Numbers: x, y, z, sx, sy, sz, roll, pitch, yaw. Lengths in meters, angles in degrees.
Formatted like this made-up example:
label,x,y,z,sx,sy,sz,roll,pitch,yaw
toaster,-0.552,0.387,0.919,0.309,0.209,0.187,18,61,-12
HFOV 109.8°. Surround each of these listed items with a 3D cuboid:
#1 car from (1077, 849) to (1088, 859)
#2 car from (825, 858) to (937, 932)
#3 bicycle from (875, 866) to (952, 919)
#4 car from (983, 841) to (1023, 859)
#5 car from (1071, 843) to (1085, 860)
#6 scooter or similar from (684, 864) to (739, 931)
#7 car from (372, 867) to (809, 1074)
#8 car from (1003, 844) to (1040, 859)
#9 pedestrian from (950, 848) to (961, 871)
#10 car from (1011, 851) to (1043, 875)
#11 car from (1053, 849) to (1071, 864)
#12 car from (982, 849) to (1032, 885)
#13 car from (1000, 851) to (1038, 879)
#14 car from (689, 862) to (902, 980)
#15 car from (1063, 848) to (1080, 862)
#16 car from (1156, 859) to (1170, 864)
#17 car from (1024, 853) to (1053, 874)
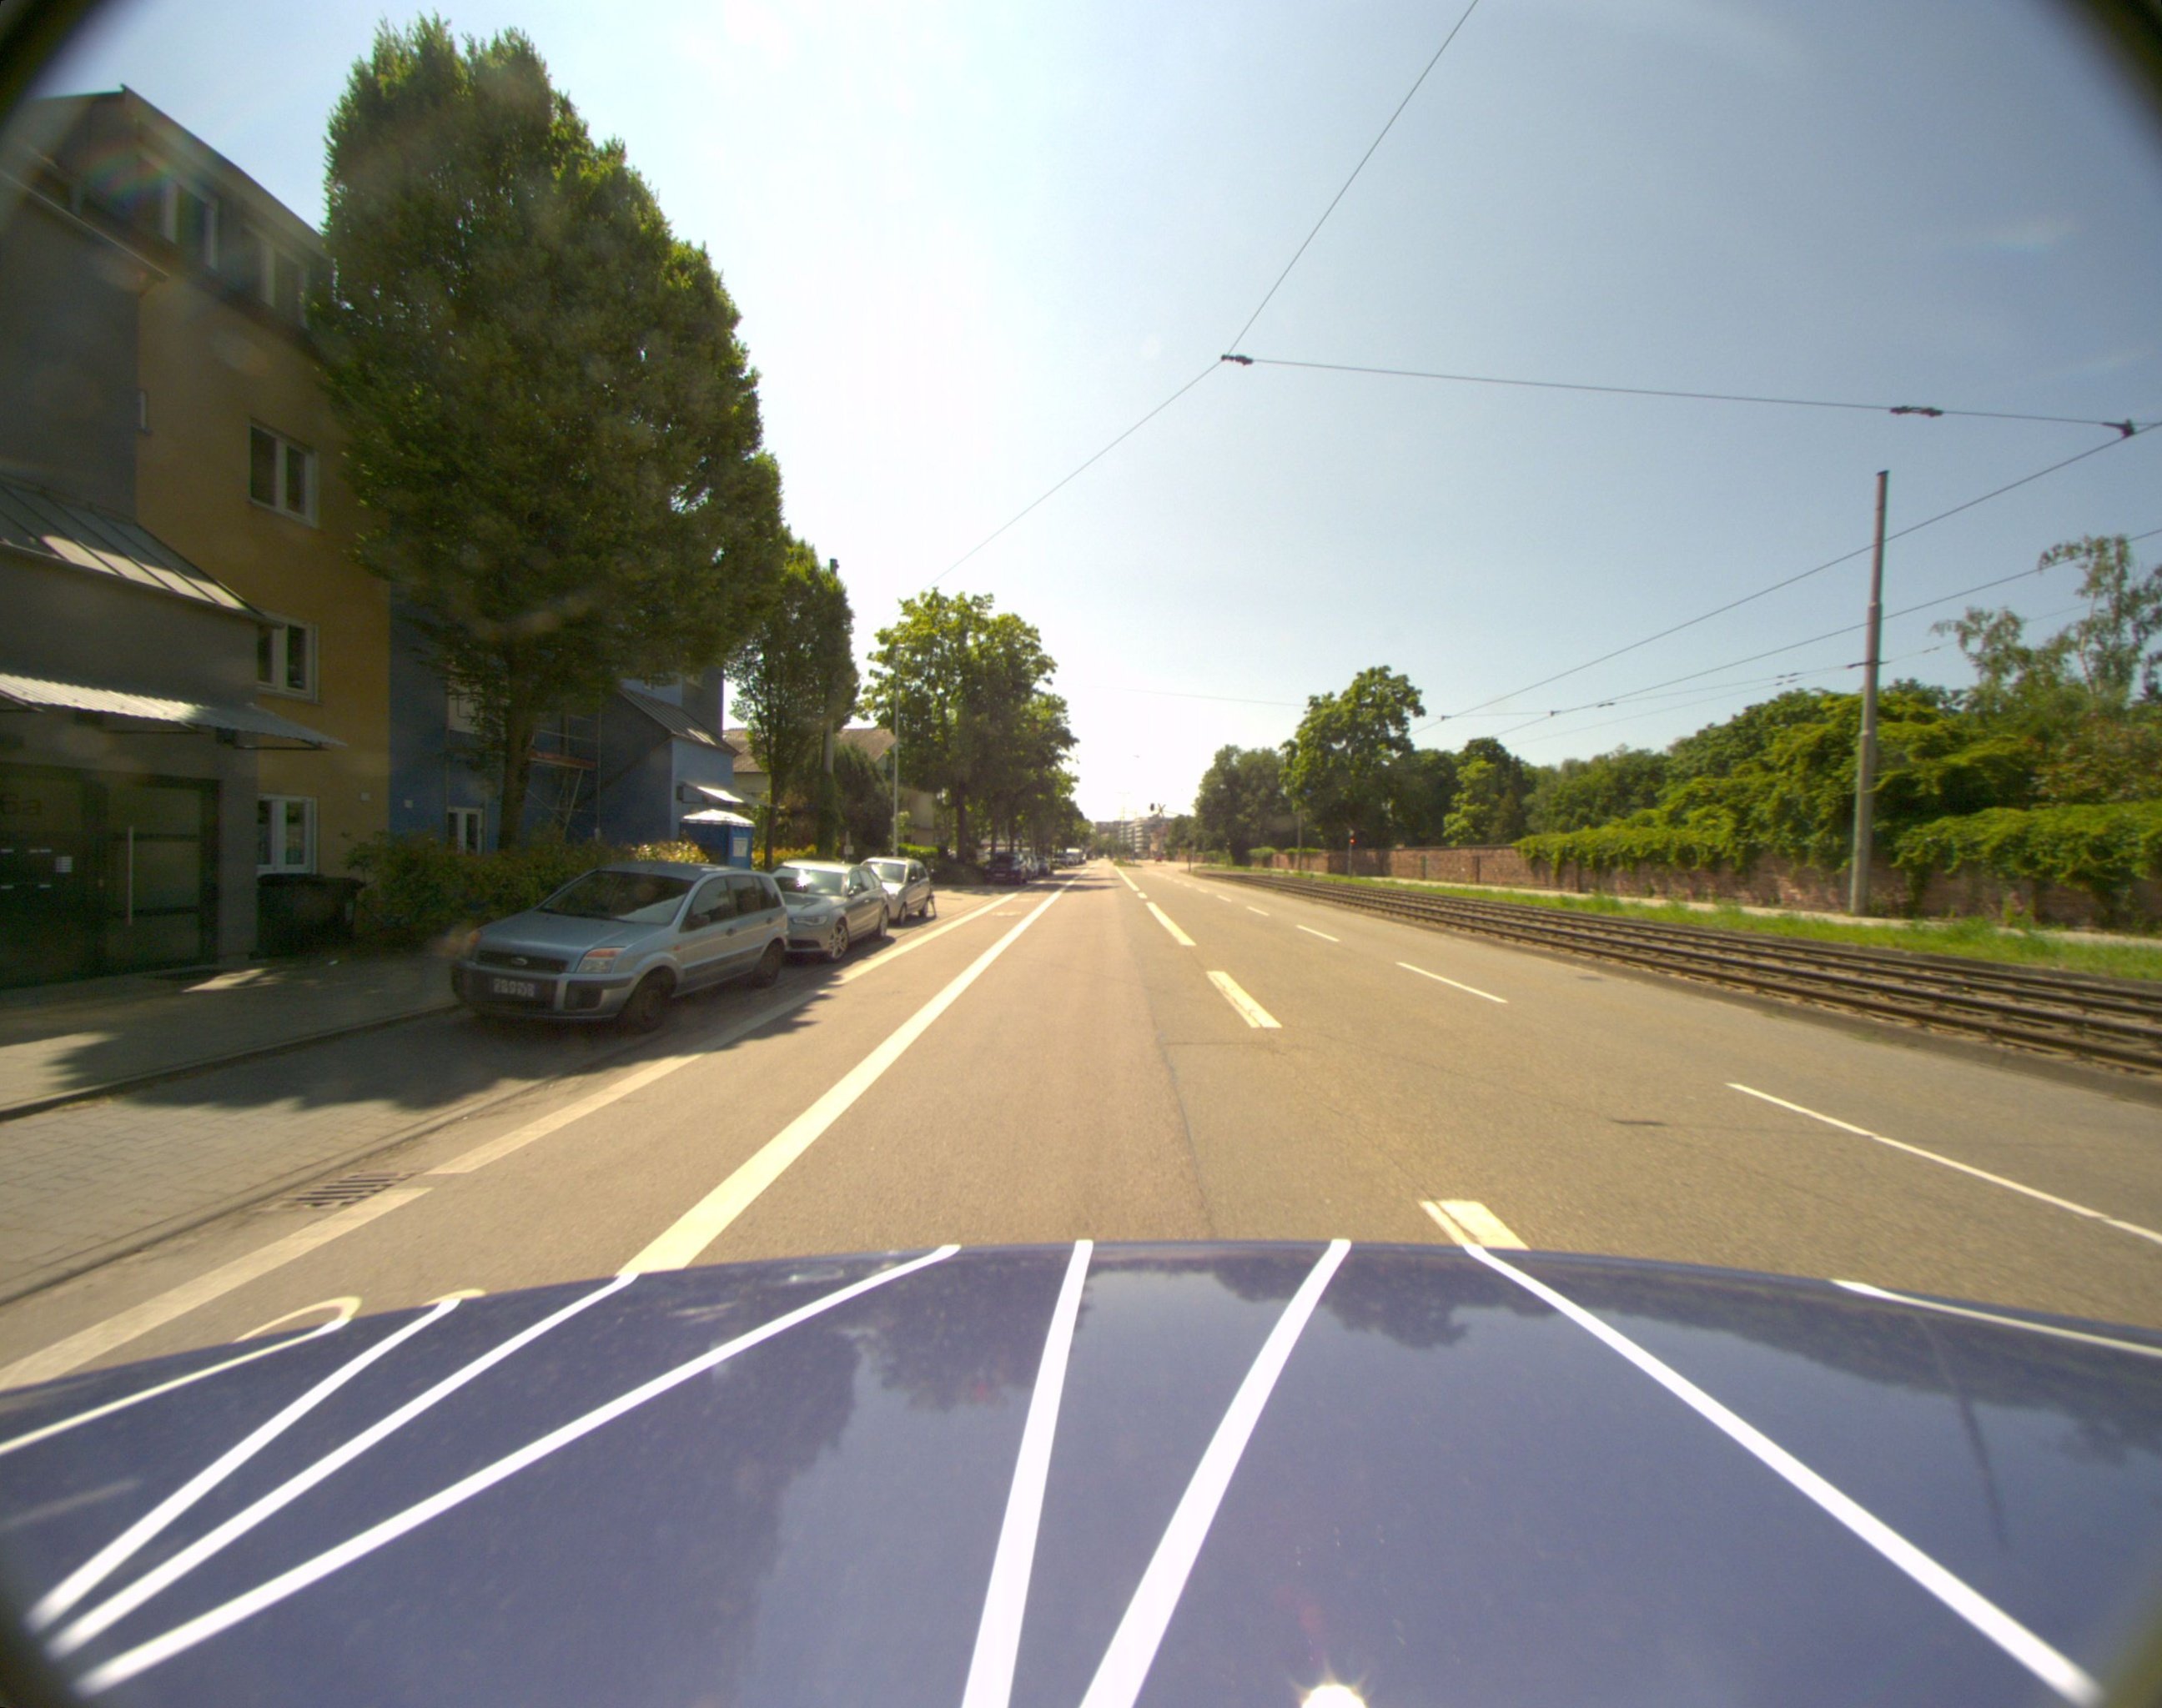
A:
label,x,y,z,sx,sy,sz,roll,pitch,yaw
car,0.315,0.046,148.539,1.883,1.905,5.125,3,0,3
car,-4.713,0.896,18.416,1.522,1.520,3.817,3,0,2
bicycle,-4.498,1.015,20.452,1.777,1.221,0.684,5,1,6
car,-11.465,-0.625,112.107,5.503,2.445,2.095,-2,1,3
car,-0.476,-0.417,125.779,2.002,2.621,6.079,3,0,2
scooter or similar,-7.451,0.852,15.366,0.385,1.272,1.339,-1,1,2
car,-4.819,0.993,8.370,1.845,1.520,4.217,3,0,4
car,-10.652,-0.465,136.756,6.354,2.514,2.264,-2,1,5
pedestrian,-9.212,0.396,55.878,0.749,1.712,0.632,0,1,-4
car,-3.647,0.573,51.523,1.845,1.520,4.205,3,0,-1
car,-2.210,0.292,89.218,1.716,1.623,4.708,3,1,2
car,-3.837,0.657,40.057,1.845,1.696,4.627,3,0,3
car,-3.694,0.606,45.909,1.845,1.520,4.353,3,0,0
car,-4.647,0.980,13.308,1.845,1.520,4.965,3,0,-1
car,-1.316,0.125,112.115,2.002,1.867,5.277,3,0,4
car,23.377,2.076,216.653,1.707,1.405,4.291,0,0,44
car,-3.172,0.713,57.398,1.845,1.427,4.824,3,0,0
